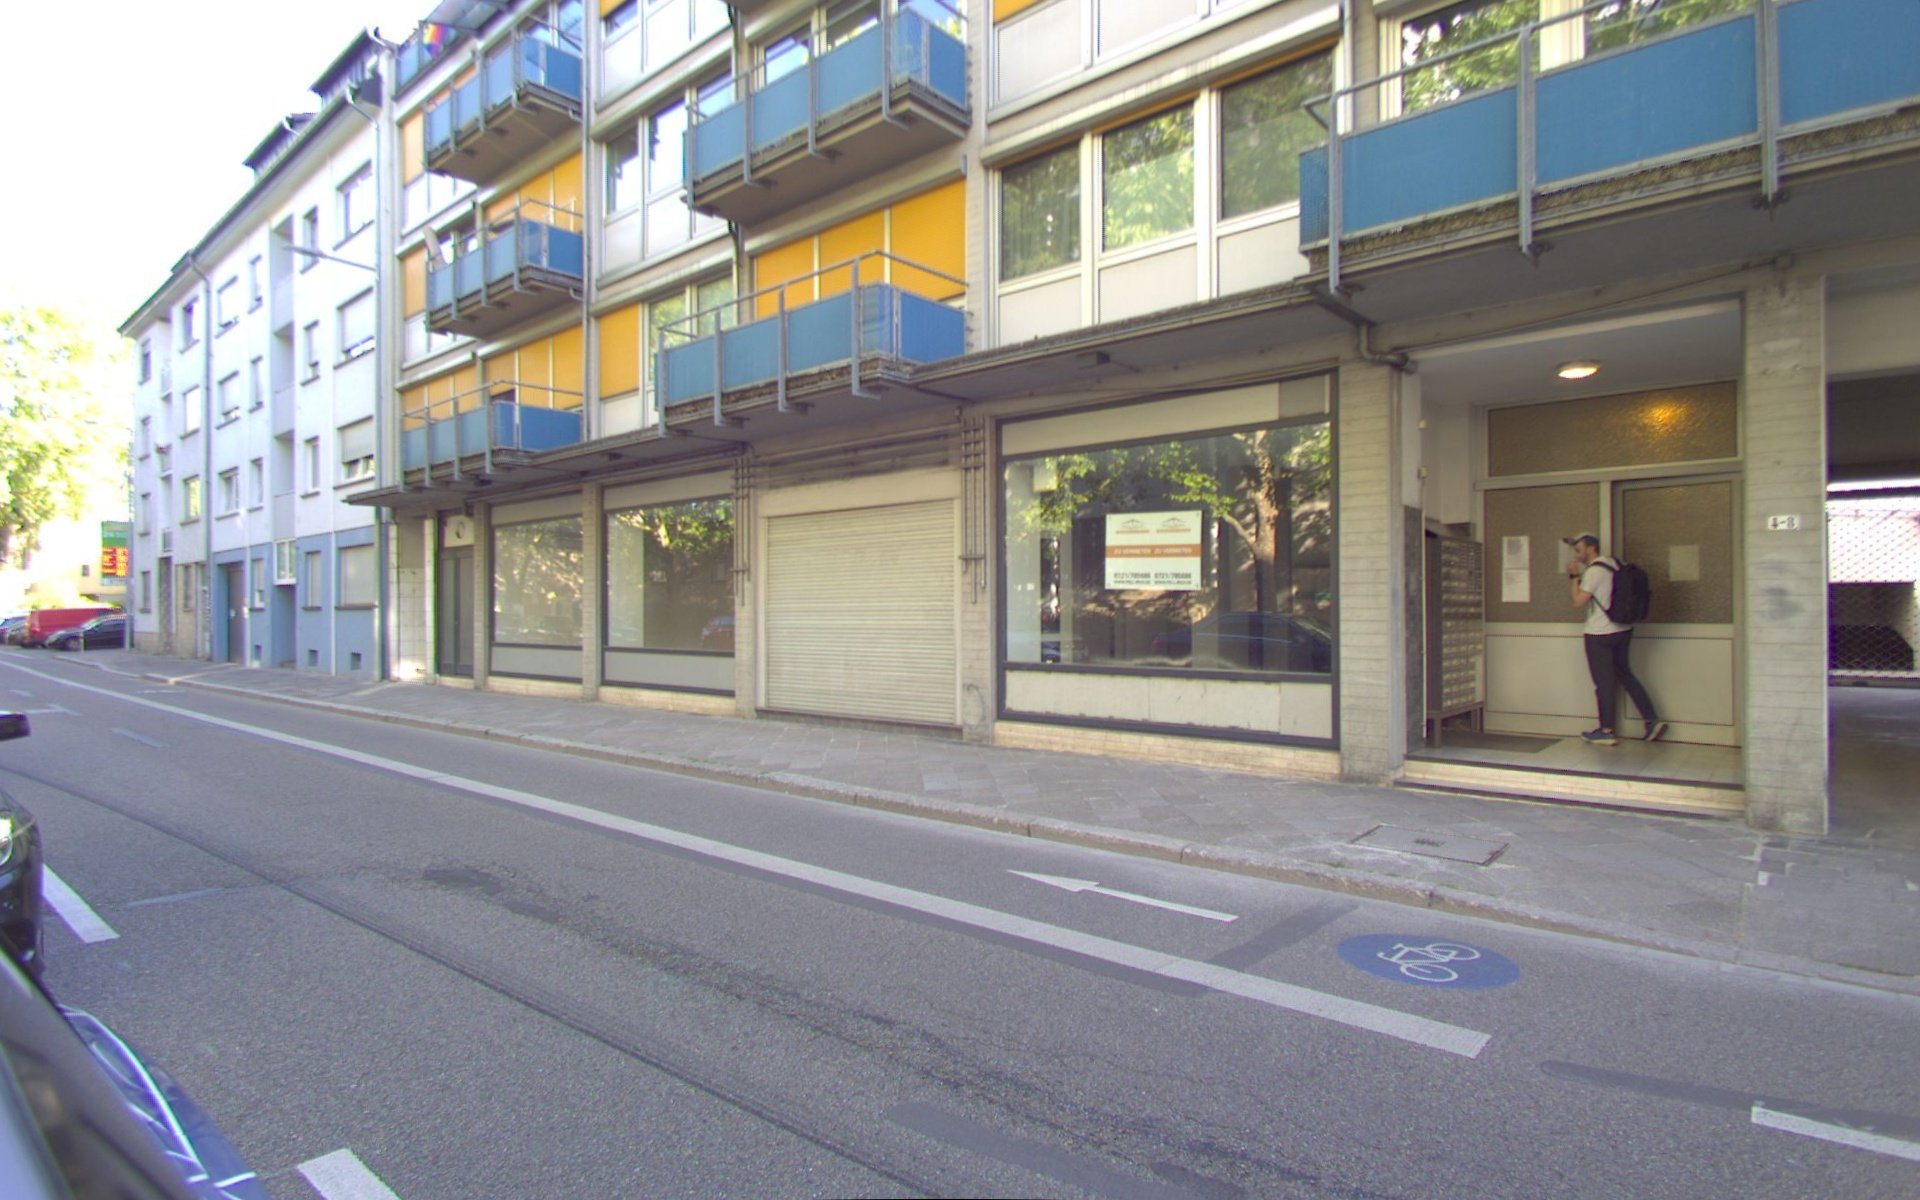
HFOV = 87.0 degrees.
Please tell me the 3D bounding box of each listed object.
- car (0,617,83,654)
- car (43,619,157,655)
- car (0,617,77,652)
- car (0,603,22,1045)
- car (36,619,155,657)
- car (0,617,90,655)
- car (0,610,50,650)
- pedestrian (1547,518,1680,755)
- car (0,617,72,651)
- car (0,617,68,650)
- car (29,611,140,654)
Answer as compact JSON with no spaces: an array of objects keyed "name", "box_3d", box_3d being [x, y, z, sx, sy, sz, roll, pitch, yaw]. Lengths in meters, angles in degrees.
[{"name":"car","box_3d":[-53.533,2.034,58.618,2.000,1.962,3.944,-1,0,42]},{"name":"car","box_3d":[-41.187,1.741,48.533,2.000,1.564,3.944,-1,0,42]},{"name":"car","box_3d":[-55.614,2.061,60.571,2.000,1.962,3.944,-1,0,42]},{"name":"car","box_3d":[-5.533,0.806,4.287,4.479,1.512,1.842,-1,-1,41]},{"name":"car","box_3d":[-39.769,1.723,46.612,2.000,1.564,3.944,-1,0,42]},{"name":"car","box_3d":[-51.582,2.009,56.836,2.000,1.962,3.944,-1,0,42]},{"name":"car","box_3d":[-62.811,1.955,66.791,2.000,2.538,3.944,-1,0,42]},{"name":"pedestrian","box_3d":[5.442,0.293,8.466,0.780,1.894,0.578,-1,0,18]},{"name":"car","box_3d":[-57.420,2.084,62.288,2.000,1.962,3.944,-1,0,42]},{"name":"car","box_3d":[-59.219,2.108,64.022,2.000,1.962,3.944,-1,0,42]},{"name":"car","box_3d":[-43.442,1.571,50.258,2.000,1.962,3.944,-1,0,42]}]
